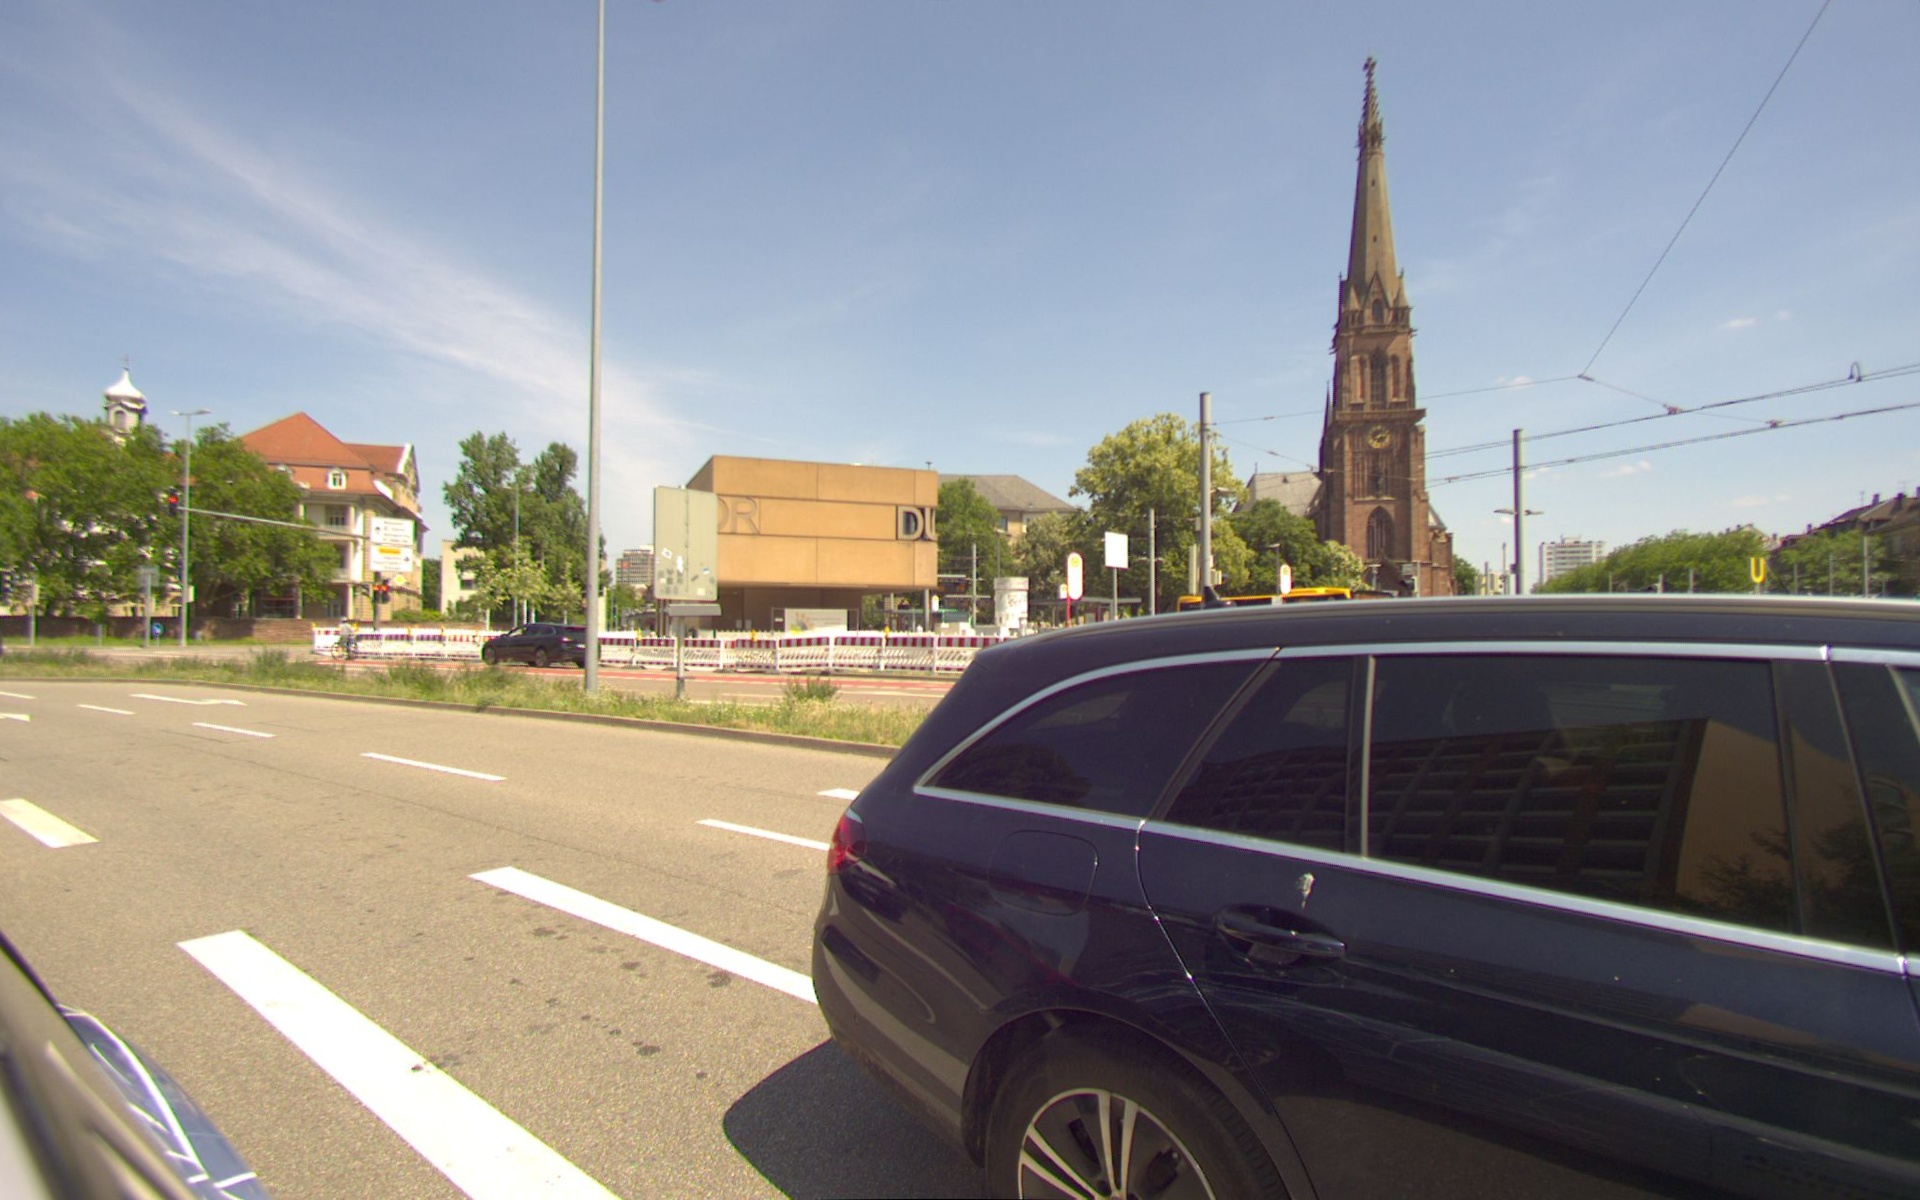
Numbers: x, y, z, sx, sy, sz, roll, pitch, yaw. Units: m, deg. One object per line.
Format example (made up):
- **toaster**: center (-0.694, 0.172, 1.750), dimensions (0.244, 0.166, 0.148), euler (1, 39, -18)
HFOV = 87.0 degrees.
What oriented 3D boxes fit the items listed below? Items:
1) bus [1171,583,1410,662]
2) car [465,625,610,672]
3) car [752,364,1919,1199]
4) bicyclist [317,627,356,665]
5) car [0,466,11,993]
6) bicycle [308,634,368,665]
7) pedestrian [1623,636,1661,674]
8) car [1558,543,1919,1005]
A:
- **bus**: center (14.096, 1.081, 44.985), dimensions (2.807, 3.039, 12.259), euler (1, -2, -22)
- **car**: center (-14.225, 1.608, 34.023), dimensions (4.825, 1.476, 1.980), euler (-1, -2, 29)
- **car**: center (1.871, 0.563, 1.526), dimensions (4.803, 1.653, 1.778), euler (-2, -1, 42)
- **bicyclist**: center (-23.441, 1.714, 38.042), dimensions (1.432, 1.366, 0.581), euler (-1, 0, 26)
- **car**: center (-6.075, 0.531, 4.637), dimensions (4.844, 1.985, 1.946), euler (-1, -1, 40)
- **bicycle**: center (-23.322, 1.844, 37.934), dimensions (2.220, 1.080, 0.871), euler (-1, 0, 26)
- **pedestrian**: center (24.553, 1.976, 36.466), dimensions (0.518, 1.344, 1.001), euler (1, -2, -17)
- **car**: center (4.460, 0.599, 3.607), dimensions (3.736, 1.588, 1.725), euler (-2, -3, 42)
